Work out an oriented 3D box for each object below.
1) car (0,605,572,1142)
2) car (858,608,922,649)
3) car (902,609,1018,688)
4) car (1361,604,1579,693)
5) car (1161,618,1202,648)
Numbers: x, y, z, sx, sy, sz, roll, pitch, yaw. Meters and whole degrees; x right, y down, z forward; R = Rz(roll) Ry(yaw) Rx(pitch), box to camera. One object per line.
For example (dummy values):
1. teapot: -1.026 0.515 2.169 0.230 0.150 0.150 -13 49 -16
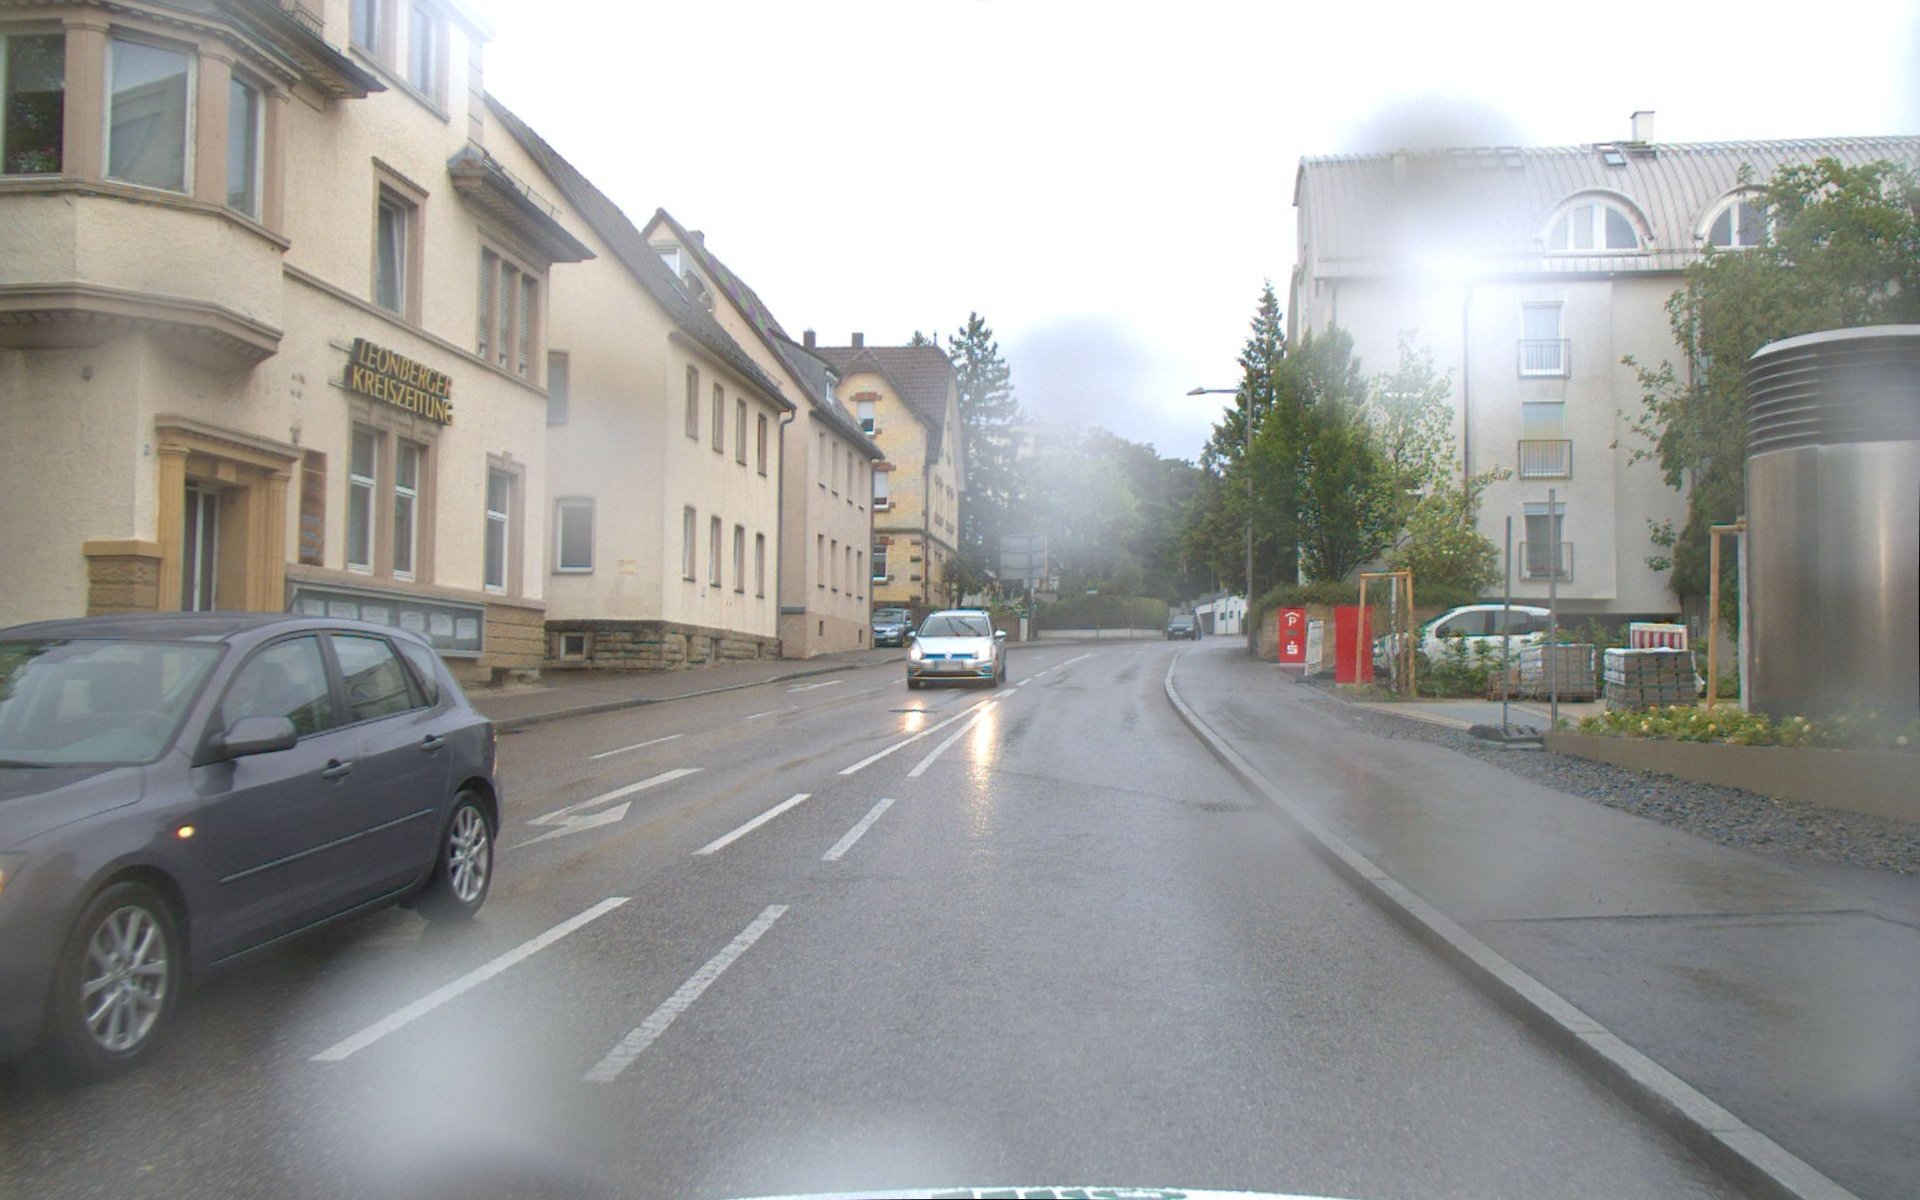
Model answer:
1. car: -3.249 0.758 6.635 1.761 1.464 4.692 0 0 7
2. car: -2.743 1.108 65.336 1.733 1.529 3.886 1 0 9
3. car: 0.072 0.922 33.313 1.761 1.464 4.692 0 0 7
4. car: 9.392 0.869 30.676 3.589 1.529 1.778 1 0 7
5. car: 13.045 1.934 97.259 1.708 1.599 3.815 3 0 17
